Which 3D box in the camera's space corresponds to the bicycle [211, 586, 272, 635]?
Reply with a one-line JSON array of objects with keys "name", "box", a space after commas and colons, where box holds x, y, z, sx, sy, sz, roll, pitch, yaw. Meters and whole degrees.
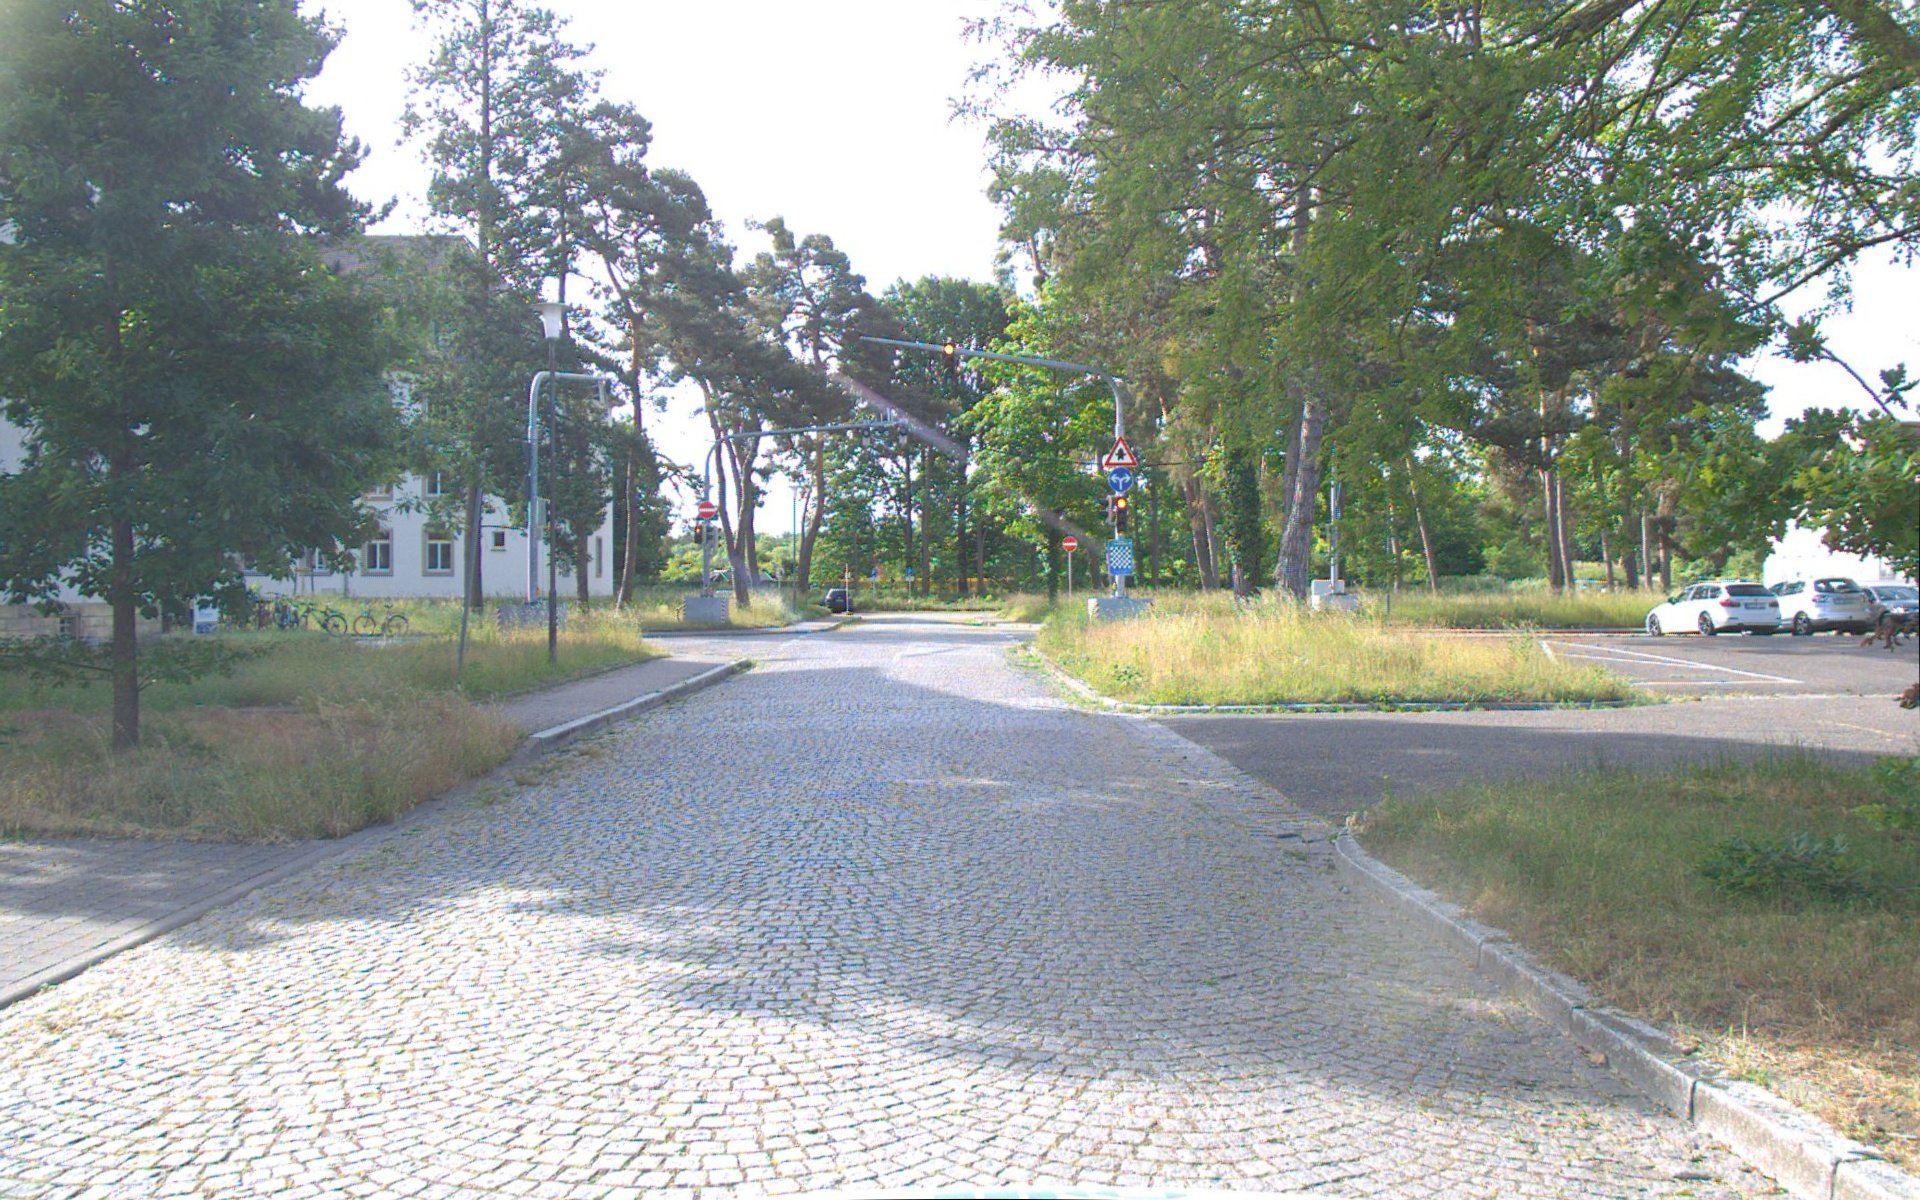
[{"name": "bicycle", "box": [-22.188, 0.309, 51.151, 0.809, 1.462, 2.553, 0, 0, -1]}]

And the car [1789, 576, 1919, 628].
[{"name": "car", "box": [24.786, 0.034, 45.313, 1.697, 1.335, 4.328, -1, 0, -5]}]

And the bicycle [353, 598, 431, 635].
[{"name": "bicycle", "box": [-17.103, 0.486, 49.834, 2.075, 1.065, 0.828, 0, 0, -5]}]

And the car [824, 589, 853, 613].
[{"name": "car", "box": [-7.873, 0.021, 107.518, 1.808, 1.512, 3.997, 0, 0, -3]}]

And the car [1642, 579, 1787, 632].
[{"name": "car", "box": [20.216, 0.114, 44.515, 1.697, 1.335, 4.328, 0, 1, -4]}]

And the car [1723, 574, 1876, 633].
[{"name": "car", "box": [22.680, 0.066, 44.888, 1.697, 1.502, 4.328, 0, 0, -5]}]

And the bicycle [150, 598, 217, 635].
[{"name": "bicycle", "box": [-23.824, 0.494, 50.807, 0.882, 1.065, 2.553, 0, 0, -1]}]

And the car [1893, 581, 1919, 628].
[{"name": "car", "box": [27.919, 0.125, 45.611, 1.697, 1.335, 4.328, -1, 1, -4]}]

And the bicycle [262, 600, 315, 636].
[{"name": "bicycle", "box": [-20.638, 0.551, 50.896, 0.809, 1.065, 2.123, 0, 0, -1]}]

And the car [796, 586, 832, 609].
[{"name": "car", "box": [-9.913, -0.176, 112.241, 1.745, 1.516, 3.758, 0, 0, 6]}]

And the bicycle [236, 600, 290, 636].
[{"name": "bicycle", "box": [-21.404, 0.537, 50.832, 0.809, 1.065, 2.123, 0, 0, -1]}]

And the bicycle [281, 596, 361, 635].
[{"name": "bicycle", "box": [-19.185, 0.452, 49.683, 2.075, 1.128, 0.828, 0, 0, -5]}]
